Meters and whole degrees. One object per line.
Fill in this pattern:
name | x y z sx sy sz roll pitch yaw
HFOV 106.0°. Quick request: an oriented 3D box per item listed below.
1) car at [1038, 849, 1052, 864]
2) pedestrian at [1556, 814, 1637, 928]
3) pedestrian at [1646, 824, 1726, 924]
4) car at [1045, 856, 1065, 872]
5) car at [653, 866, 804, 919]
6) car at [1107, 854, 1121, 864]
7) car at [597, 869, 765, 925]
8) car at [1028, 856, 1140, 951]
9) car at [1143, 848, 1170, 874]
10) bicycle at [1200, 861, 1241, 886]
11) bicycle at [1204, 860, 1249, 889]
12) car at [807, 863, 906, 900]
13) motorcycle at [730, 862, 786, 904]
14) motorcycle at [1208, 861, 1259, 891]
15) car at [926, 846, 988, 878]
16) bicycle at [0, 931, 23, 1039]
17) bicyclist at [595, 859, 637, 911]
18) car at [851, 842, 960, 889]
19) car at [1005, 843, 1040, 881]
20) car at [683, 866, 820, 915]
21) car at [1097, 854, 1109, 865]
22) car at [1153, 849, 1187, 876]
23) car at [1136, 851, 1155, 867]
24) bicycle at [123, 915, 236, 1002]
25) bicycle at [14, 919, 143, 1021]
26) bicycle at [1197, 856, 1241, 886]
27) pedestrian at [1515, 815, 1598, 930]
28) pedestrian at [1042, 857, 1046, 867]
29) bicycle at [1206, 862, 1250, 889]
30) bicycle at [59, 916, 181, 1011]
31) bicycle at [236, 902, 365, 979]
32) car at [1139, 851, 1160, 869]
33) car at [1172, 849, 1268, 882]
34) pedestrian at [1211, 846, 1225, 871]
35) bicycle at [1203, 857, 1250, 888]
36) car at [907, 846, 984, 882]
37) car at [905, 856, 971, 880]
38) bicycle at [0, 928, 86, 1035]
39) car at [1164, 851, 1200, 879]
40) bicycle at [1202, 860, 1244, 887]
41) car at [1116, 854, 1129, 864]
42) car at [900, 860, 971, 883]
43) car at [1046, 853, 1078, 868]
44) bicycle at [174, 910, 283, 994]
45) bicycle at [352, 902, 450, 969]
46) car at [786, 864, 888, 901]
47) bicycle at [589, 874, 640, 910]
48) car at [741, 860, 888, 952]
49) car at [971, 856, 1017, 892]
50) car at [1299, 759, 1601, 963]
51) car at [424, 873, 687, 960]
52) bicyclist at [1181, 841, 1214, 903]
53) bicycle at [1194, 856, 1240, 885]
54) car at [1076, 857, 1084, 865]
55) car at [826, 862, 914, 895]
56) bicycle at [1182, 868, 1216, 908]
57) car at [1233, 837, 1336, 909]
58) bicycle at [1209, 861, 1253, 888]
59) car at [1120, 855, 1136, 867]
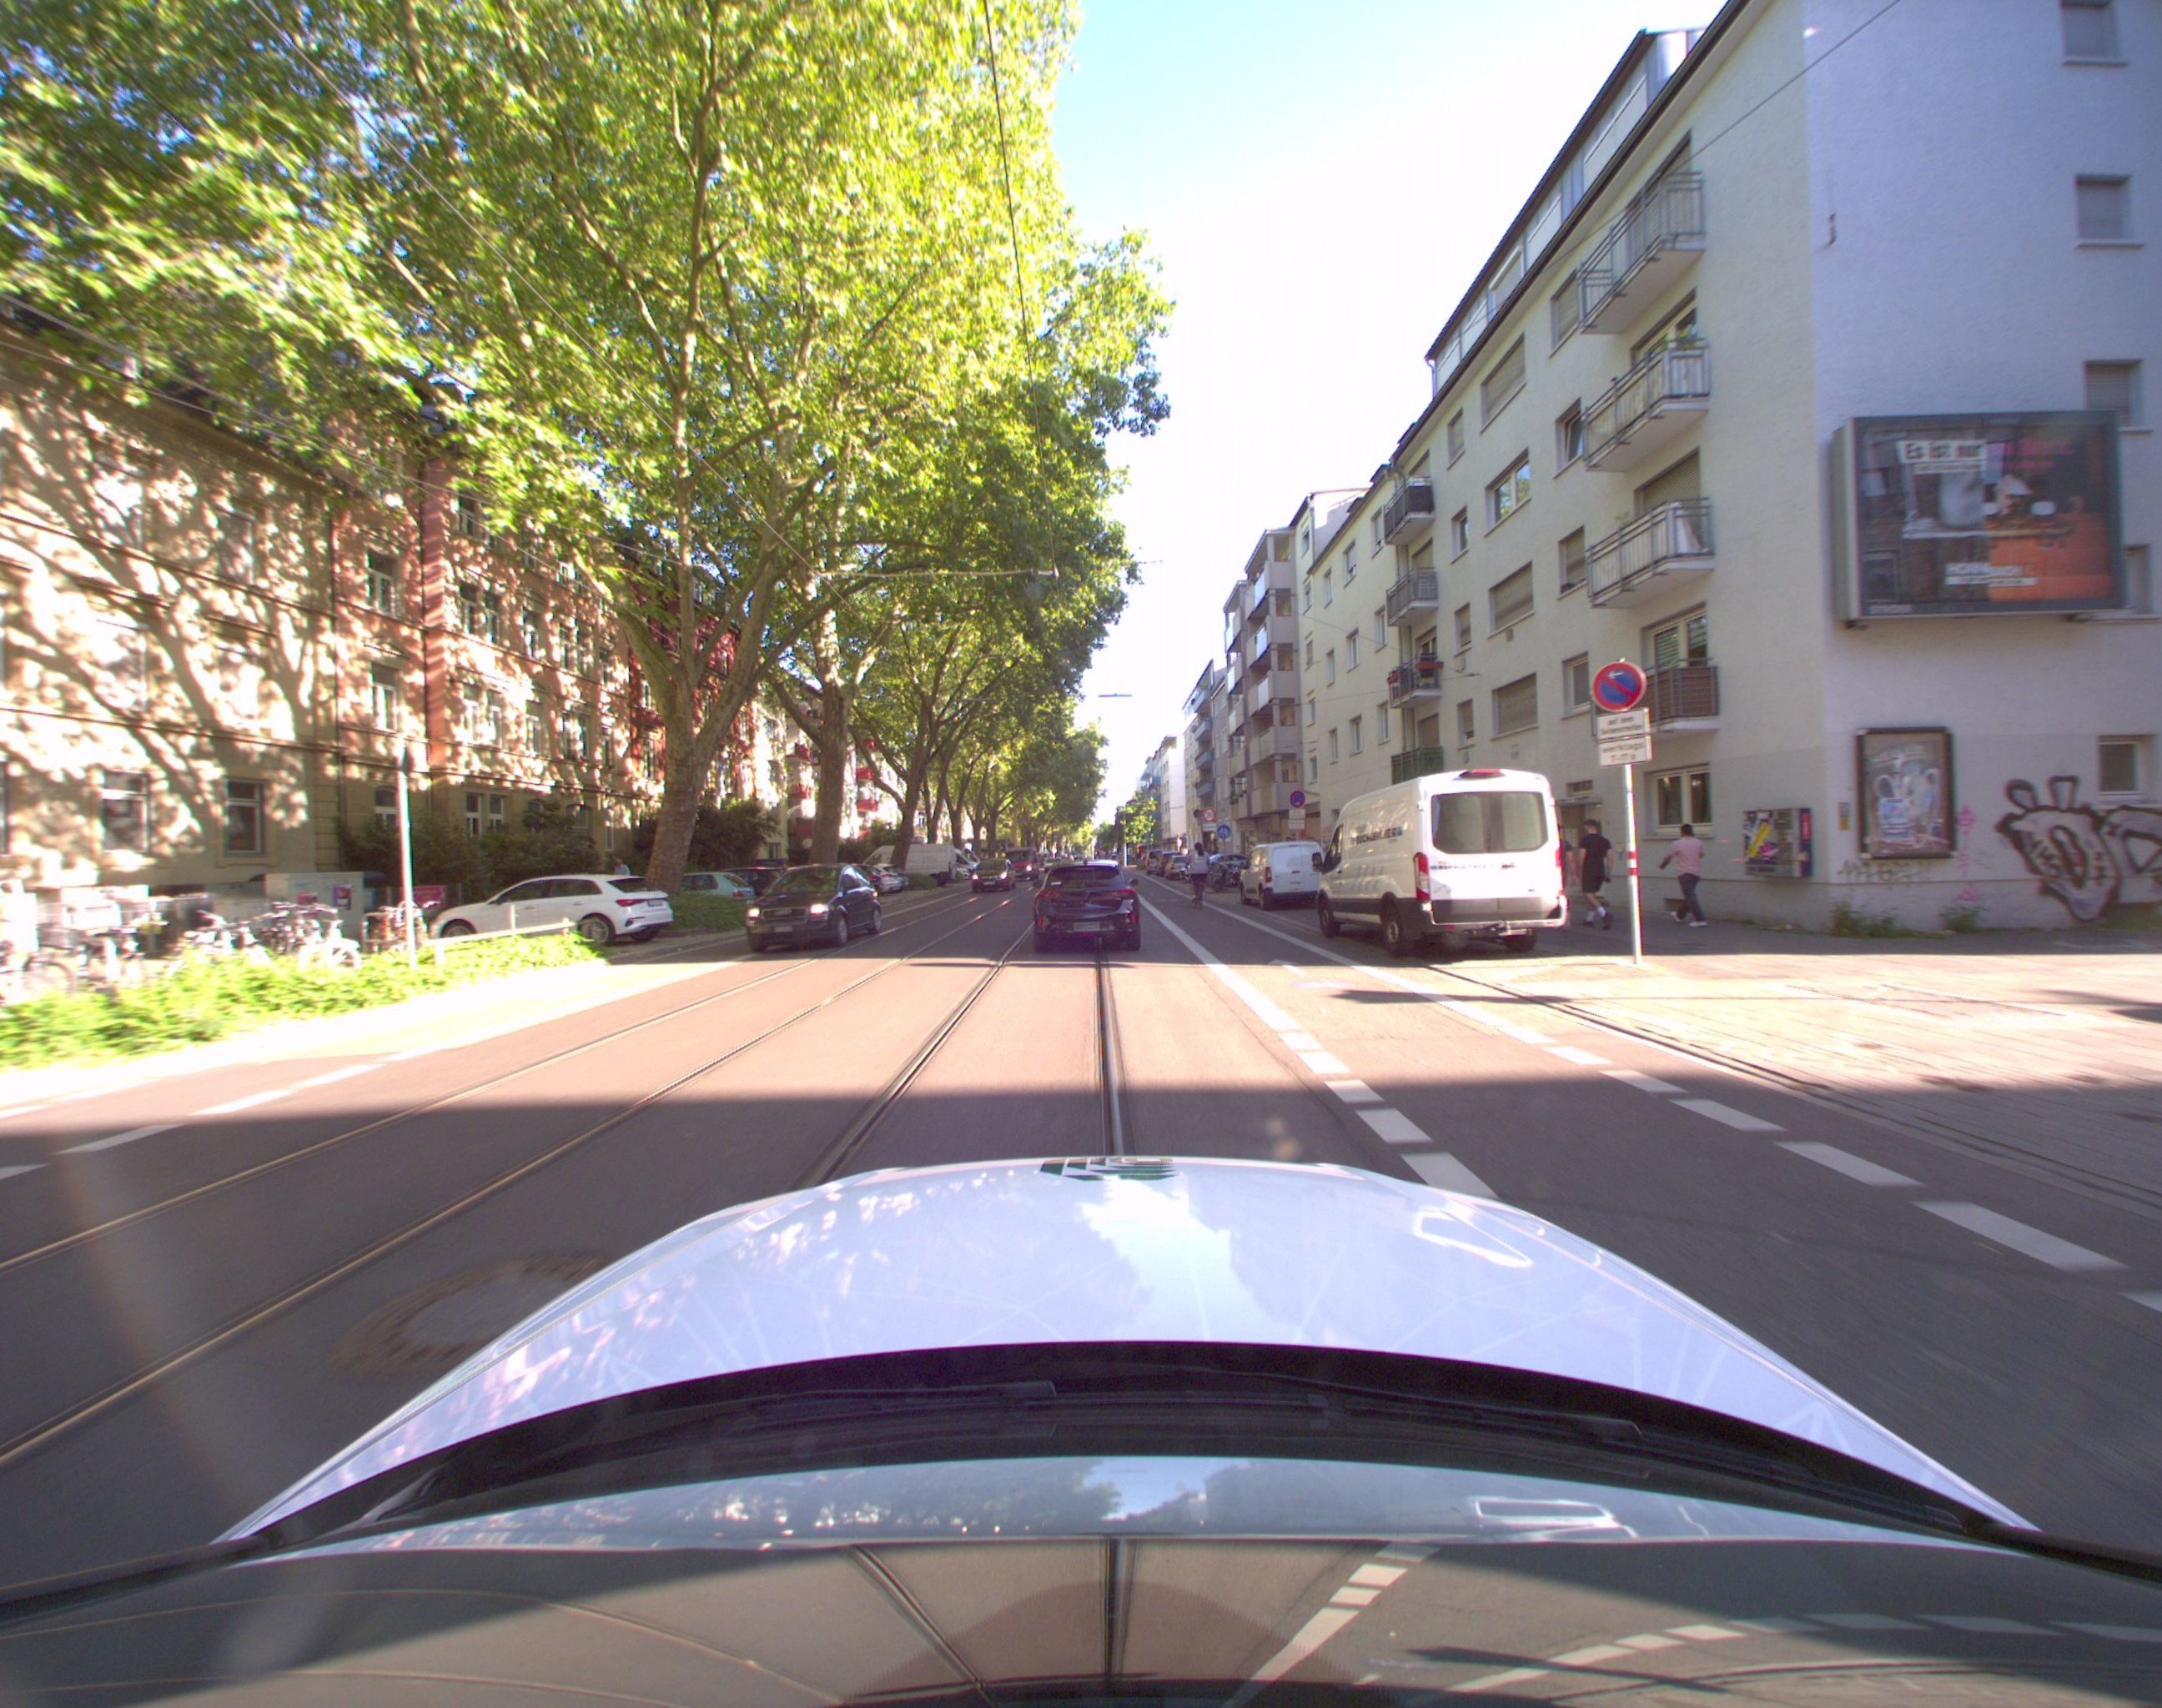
car | -6.529 0.479 147.311 2.085 2.584 5.997 -2 0 0
pedestrian | 8.703 0.279 13.792 0.622 1.822 1.082 -3 -1 2
pedestrian | 9.890 0.323 13.349 0.629 1.580 0.933 0 -1 2
car | -2.366 0.888 75.760 1.713 1.359 4.468 -2 0 -1
car | -11.102 1.202 25.819 3.971 1.460 1.771 -2 0 2
car | 5.515 0.836 137.625 1.989 1.640 3.995 -2 0 -3
car | -11.362 1.204 23.275 3.971 1.369 1.606 -2 0 2
car | 0.064 0.758 14.105 1.674 1.422 3.627 0 0 0
car | 5.857 0.515 63.784 1.851 1.890 4.927 -2 0 2
bicycle | 6.067 0.842 35.424 1.647 0.966 0.457 -4 0 0
bicycle | 5.790 0.815 32.421 1.647 1.055 0.457 -4 0 0
car | -10.310 1.237 37.622 3.973 1.496 1.831 -2 0 1
motorcycle | -13.233 1.154 33.475 1.048 1.631 3.012 0 -1 1
motorcycle | 5.897 0.850 31.526 1.802 1.080 0.621 -3 -1 24
car | -10.664 0.684 70.299 4.932 2.567 2.080 -2 0 -3
bicycle | -11.810 1.379 8.524 1.545 1.088 0.398 -2 0 18
bicyclist | -16.499 1.088 28.902 0.827 1.763 1.048 -2 0 0
car | -10.049 0.637 46.990 5.721 2.536 2.163 -1 0 0
car | -3.719 0.502 52.353 1.912 2.227 4.958 -2 0 -1
car | -11.383 1.243 28.278 3.971 1.460 1.705 -2 0 2
car | 3.490 0.805 128.034 1.851 1.651 4.002 -2 0 2
car | 5.995 0.532 55.160 1.761 1.705 4.282 -2 0 0
car | 7.005 0.511 88.546 1.851 1.651 4.002 -2 0 2
bicycle | -12.020 1.380 10.851 1.545 1.088 0.398 -2 0 18
bicycle | -11.594 1.322 9.415 1.545 1.088 0.398 -2 0 18
bicycle | 6.076 0.735 35.891 1.817 1.191 0.457 -4 0 0
pedestrian | 8.034 0.307 13.808 0.707 1.822 1.082 -3 -1 2
pedestrian | -5.905 1.290 129.476 0.505 1.583 0.527 -2 0 0
bicycle | 6.044 0.893 33.522 1.647 0.987 0.457 -4 0 0
bicycle | -11.800 1.326 9.995 1.545 1.088 0.398 -2 0 18
bicycle | -12.098 1.327 12.619 1.903 1.088 0.600 -2 0 18
car | 6.732 0.607 80.595 1.851 1.651 4.002 -2 0 2
car | 7.401 0.604 43.500 4.615 1.437 1.858 -3 0 -11
pedestrian | 9.719 0.301 57.772 0.754 1.720 0.720 -2 0 -1
bicycle | 6.104 0.779 34.233 1.788 1.148 0.704 -4 0 0
car | -10.191 0.763 61.430 5.341 2.477 2.057 -2 0 0
car | -10.257 0.979 58.623 4.356 1.539 1.872 -2 0 0
bicycle | -11.729 1.383 8.985 1.545 1.088 0.398 -2 0 18
car | 5.979 0.642 48.593 1.717 1.525 4.515 -2 0 2
bicycle | 6.079 0.836 34.931 1.647 1.020 0.457 -4 0 0
car | 6.057 0.732 119.007 1.713 1.490 3.680 -2 0 -1
car | -9.886 1.178 55.547 4.395 1.384 1.933 -2 0 0
car | -2.382 0.833 102.375 3.973 1.651 1.864 -2 0 0
bicycle | -11.847 1.352 11.317 1.545 1.088 0.398 -2 0 18
bicycle | -11.491 1.354 13.751 1.784 1.043 0.601 -2 0 28
car | -10.415 1.190 34.920 3.779 1.460 1.705 -1 0 1
bicycle | -16.517 1.329 28.892 0.739 1.138 1.780 -2 0 1
car | -5.005 0.903 15.800 1.630 1.510 3.690 -2 0 -1
car | -3.903 0.882 37.082 1.713 1.510 3.721 -2 0 -1
car | 5.444 0.105 13.266 2.142 2.495 6.088 -2 0 0
car | -10.387 1.194 16.329 3.974 1.460 1.878 -3 -1 -1
bicyclist | 3.399 0.518 23.753 0.784 1.759 0.914 -2 -1 0
bicycle | 6.070 0.738 36.371 1.886 1.191 0.457 -4 0 0
car | -0.222 1.623 185.122 1.743 1.651 4.002 -2 0 2
car | -10.334 1.190 40.020 3.793 1.432 1.705 -2 0 2
bicycle | 3.435 0.970 23.822 0.698 1.092 1.990 0 -1 0
car | 5.719 0.498 23.472 1.852 1.820 4.350 -2 0 0
bicycle | 6.055 0.829 32.960 1.647 0.987 0.457 -4 0 0
car | 6.473 0.918 113.442 1.714 1.574 4.080 -2 0 -3
